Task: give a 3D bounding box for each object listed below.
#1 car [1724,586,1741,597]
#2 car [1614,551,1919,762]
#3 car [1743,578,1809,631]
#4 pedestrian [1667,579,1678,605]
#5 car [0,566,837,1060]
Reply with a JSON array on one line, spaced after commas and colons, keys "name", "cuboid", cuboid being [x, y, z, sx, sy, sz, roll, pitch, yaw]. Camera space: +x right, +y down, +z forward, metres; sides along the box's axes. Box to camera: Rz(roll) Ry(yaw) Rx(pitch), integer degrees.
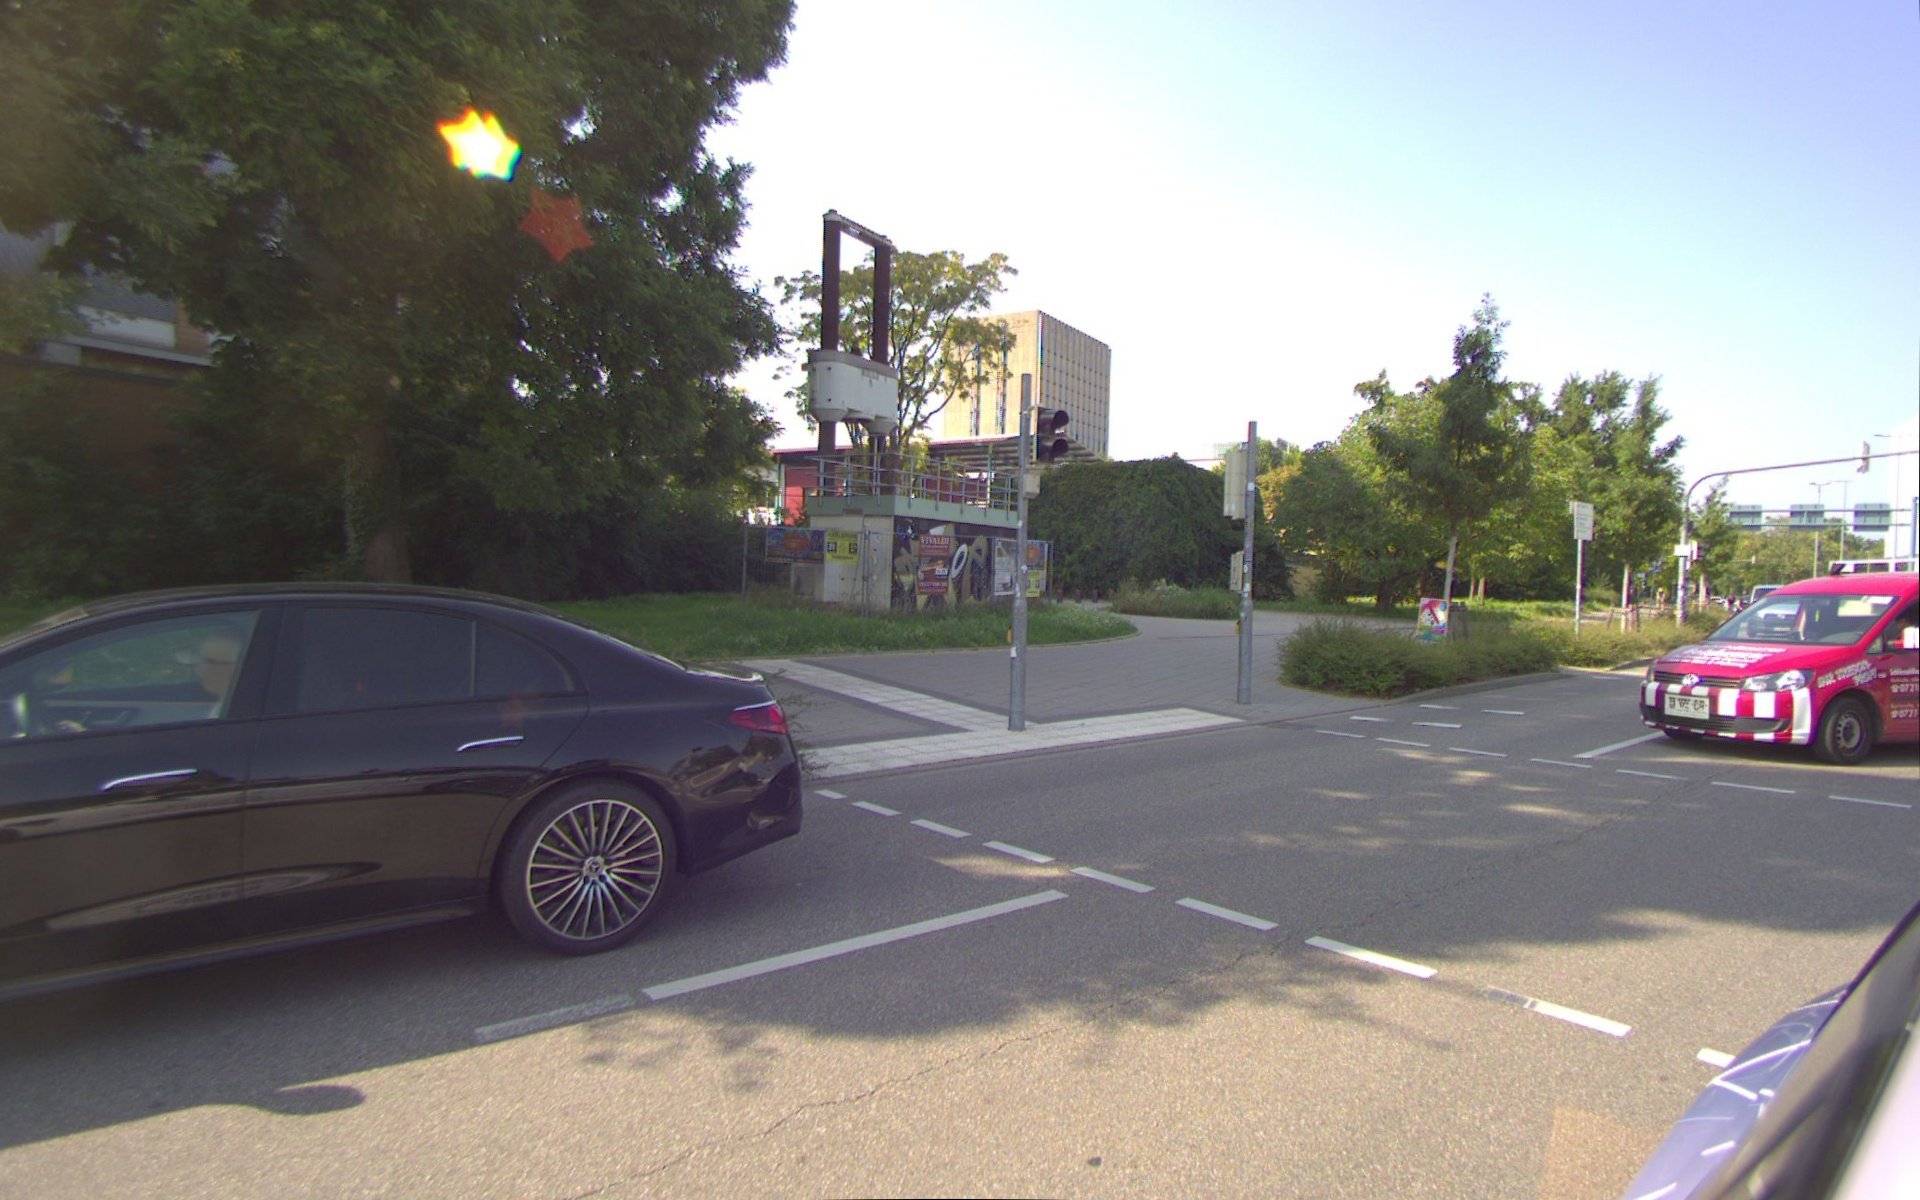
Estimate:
[{"name": "car", "cuboid": [115.905, -1.288, 151.869, 1.821, 1.705, 3.950, 2, 2, 35]}, {"name": "car", "cuboid": [9.044, 0.491, 10.059, 4.189, 1.842, 1.741, 0, 1, -10]}, {"name": "car", "cuboid": [31.698, 0.115, 39.247, 1.839, 1.898, 4.901, 2, 2, 40]}, {"name": "pedestrian", "cuboid": [51.230, -0.572, 72.767, 0.620, 1.868, 0.633, 2, 2, 36]}, {"name": "car", "cuboid": [-3.025, 0.608, 3.970, 4.782, 1.458, 1.825, 0, 1, -36]}]
